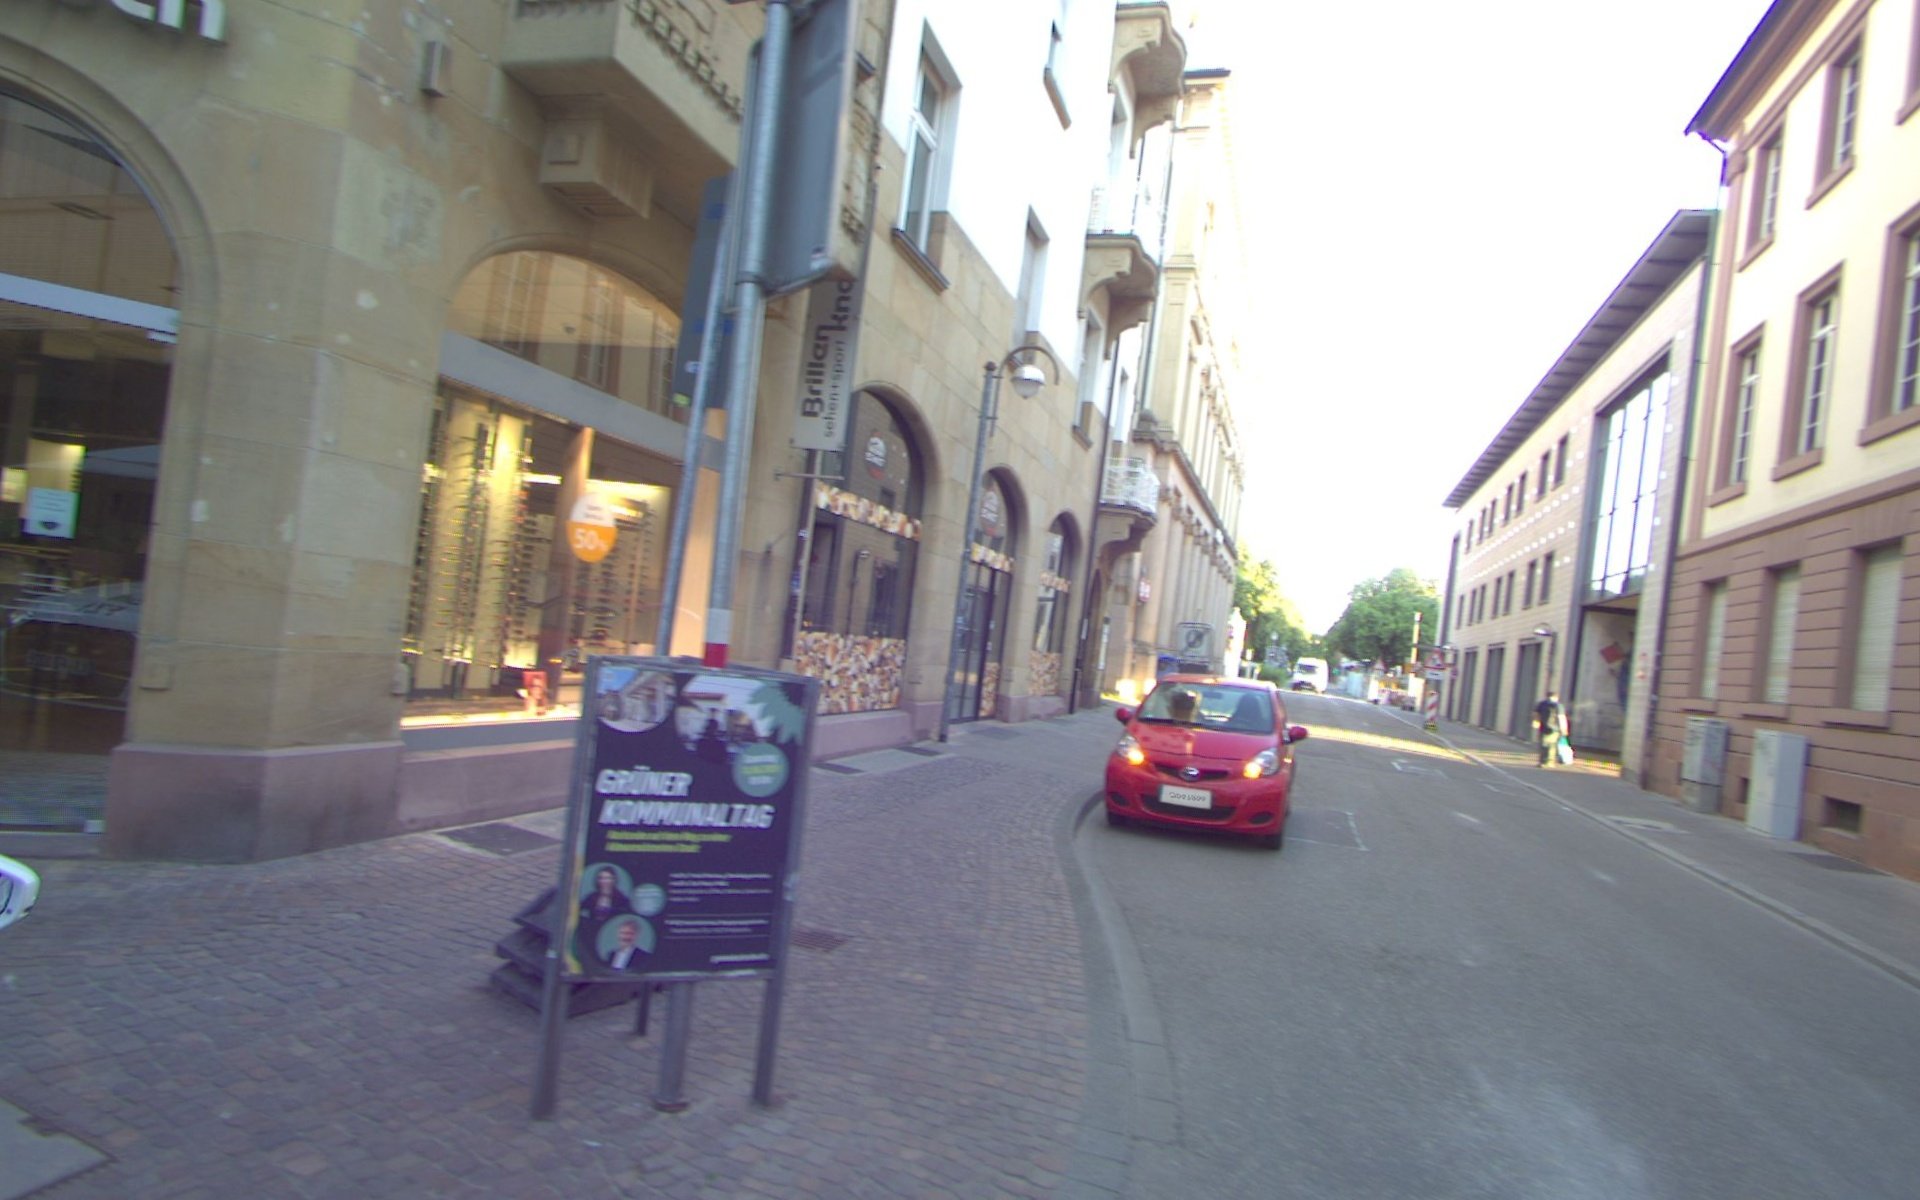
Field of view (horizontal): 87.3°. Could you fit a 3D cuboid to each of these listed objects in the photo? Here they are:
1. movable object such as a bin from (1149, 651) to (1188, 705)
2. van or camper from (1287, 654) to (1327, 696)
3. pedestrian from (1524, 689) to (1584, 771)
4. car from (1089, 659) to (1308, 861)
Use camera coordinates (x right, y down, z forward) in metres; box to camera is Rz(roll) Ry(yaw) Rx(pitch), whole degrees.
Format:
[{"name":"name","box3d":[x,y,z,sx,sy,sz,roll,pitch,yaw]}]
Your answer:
[{"name":"movable object such as a bin","box3d":[6.398,2.378,30.851,0.816,1.521,1.291,8,0,20]},{"name":"van or camper","box3d":[25.270,5.449,73.172,2.185,2.615,6.373,7,-1,22]},{"name":"pedestrian","box3d":[14.048,3.055,23.807,0.985,1.824,0.882,3,-2,19]},{"name":"car","box3d":[2.610,1.450,10.281,1.632,1.487,3.934,4,-2,20]}]
